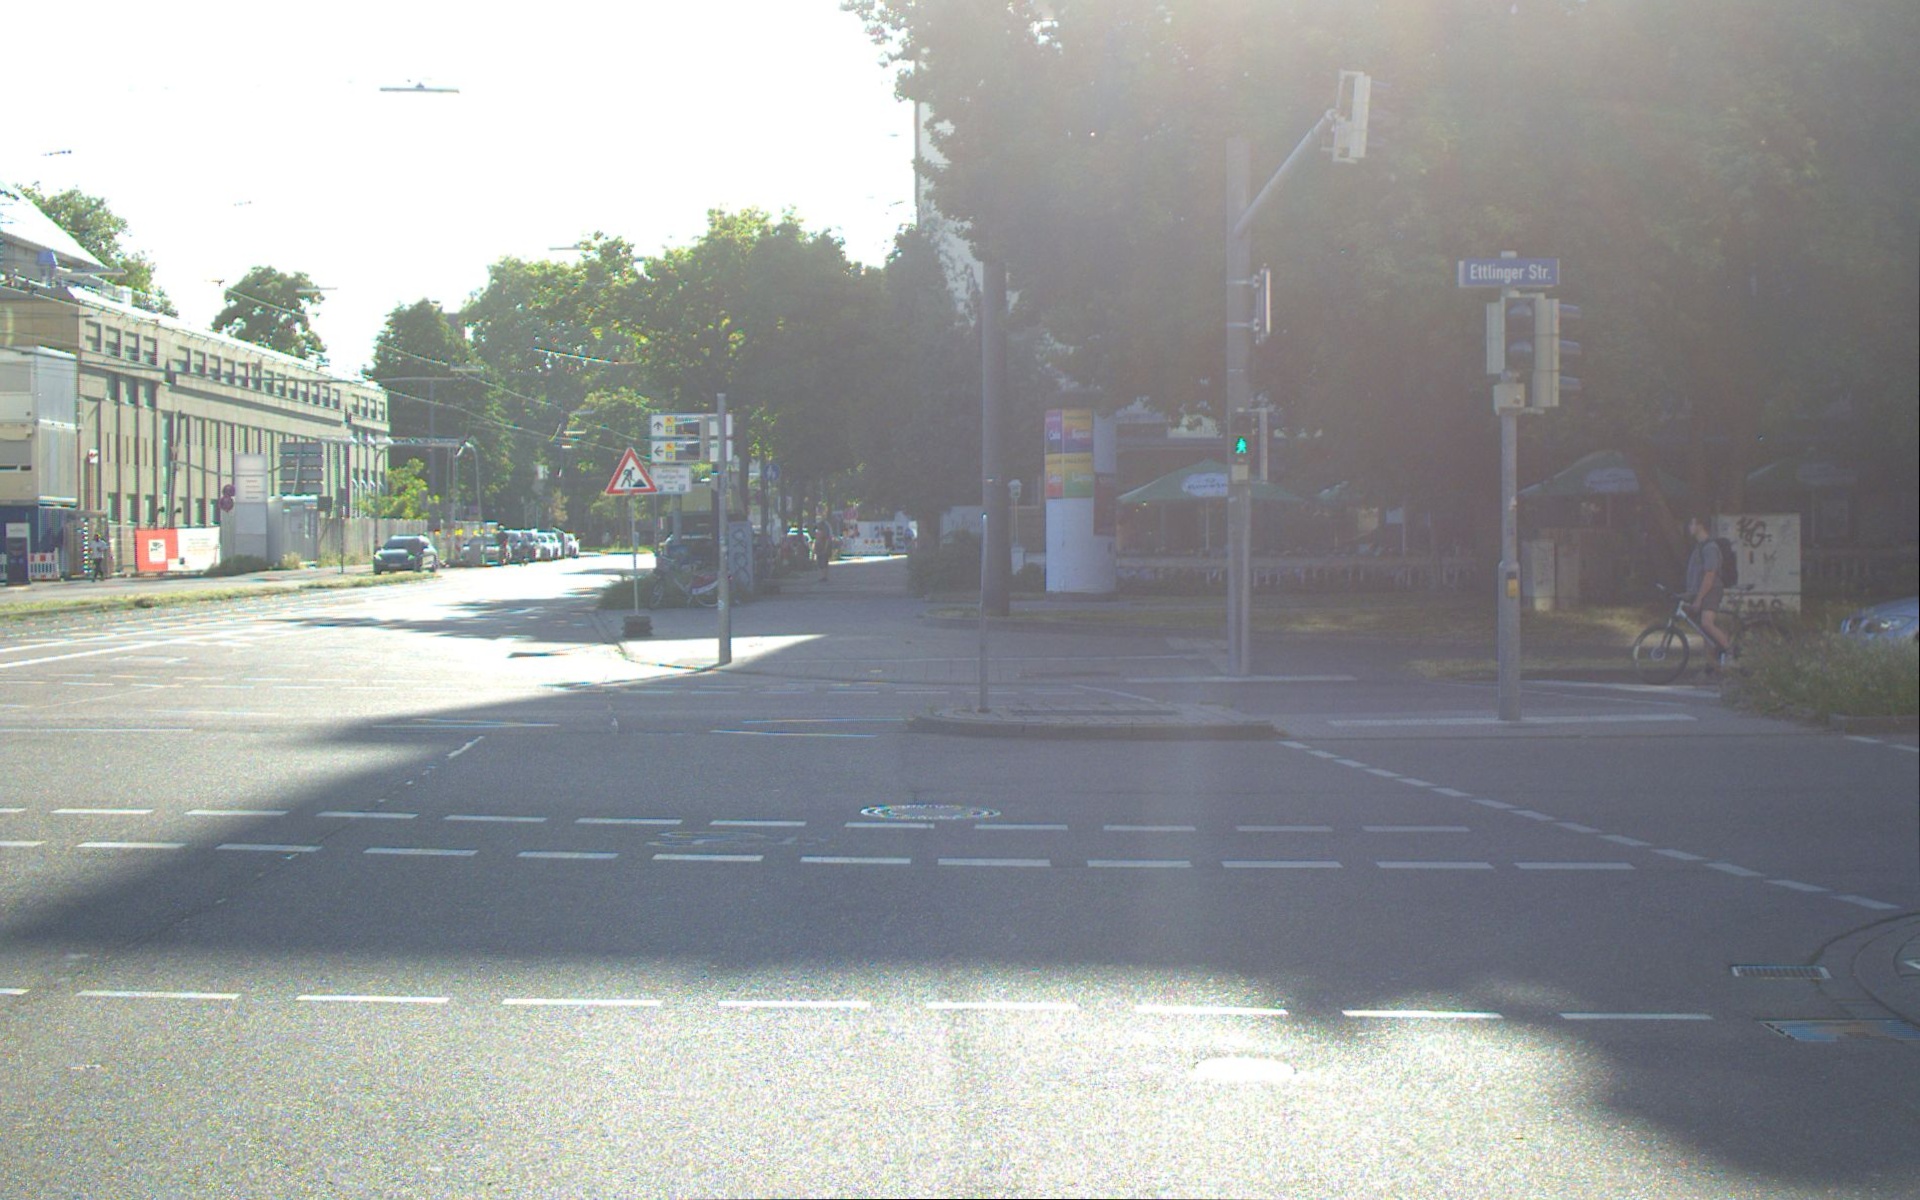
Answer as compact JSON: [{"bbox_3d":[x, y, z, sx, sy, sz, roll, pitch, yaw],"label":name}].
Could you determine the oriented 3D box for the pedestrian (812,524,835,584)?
[{"bbox_3d":[-3.878,-1.314,97.600,0.576,1.683,0.585,-1,1,-8],"label":"pedestrian"}]

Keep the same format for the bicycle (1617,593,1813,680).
[{"bbox_3d":[7.975,0.385,36.374,1.944,0.886,0.718,1,0,6],"label":"bicycle"}]

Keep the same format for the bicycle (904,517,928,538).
[{"bbox_3d":[-2.557,-4.208,200.449,0.890,1.215,2.794,1,1,-12],"label":"bicycle"}]

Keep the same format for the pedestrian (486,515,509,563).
[{"bbox_3d":[-20.216,-2.659,150.324,0.751,2.056,1.050,1,0,5],"label":"pedestrian"}]

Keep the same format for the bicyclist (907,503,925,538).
[{"bbox_3d":[-2.545,-4.610,200.444,0.890,2.007,0.749,1,0,-12],"label":"bicyclist"}]

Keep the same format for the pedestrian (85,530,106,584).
[{"bbox_3d":[-30.647,-1.520,121.878,0.588,1.883,0.478,1,0,-1],"label":"pedestrian"}]

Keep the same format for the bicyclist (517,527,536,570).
[{"bbox_3d":[-19.694,-2.346,156.241,0.750,1.913,1.215,1,0,-2],"label":"bicyclist"}]

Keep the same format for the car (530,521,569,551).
[{"bbox_3d":[-23.239,-3.615,194.687,1.993,1.638,4.001,-1,1,-4],"label":"car"}]

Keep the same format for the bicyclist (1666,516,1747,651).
[{"bbox_3d":[7.893,-0.178,36.373,0.747,1.401,0.702,1,0,6],"label":"bicyclist"}]

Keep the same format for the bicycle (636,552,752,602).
[{"bbox_3d":[-5.202,-0.457,67.208,2.244,0.937,0.654,-1,1,-5],"label":"bicycle"}]

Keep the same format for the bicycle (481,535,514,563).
[{"bbox_3d":[-20.221,-2.236,150.262,0.751,1.201,3.107,1,1,5],"label":"bicycle"}]

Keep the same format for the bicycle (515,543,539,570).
[{"bbox_3d":[-19.690,-1.974,156.364,0.750,1.201,3.108,1,1,-2],"label":"bicycle"}]

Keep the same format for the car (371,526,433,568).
[{"bbox_3d":[-22.023,-2.098,135.746,1.993,1.593,4.001,-1,1,-3],"label":"car"}]

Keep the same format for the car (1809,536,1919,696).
[{"bbox_3d":[10.839,0.171,33.567,4.576,1.511,2.000,1,0,0],"label":"car"}]
